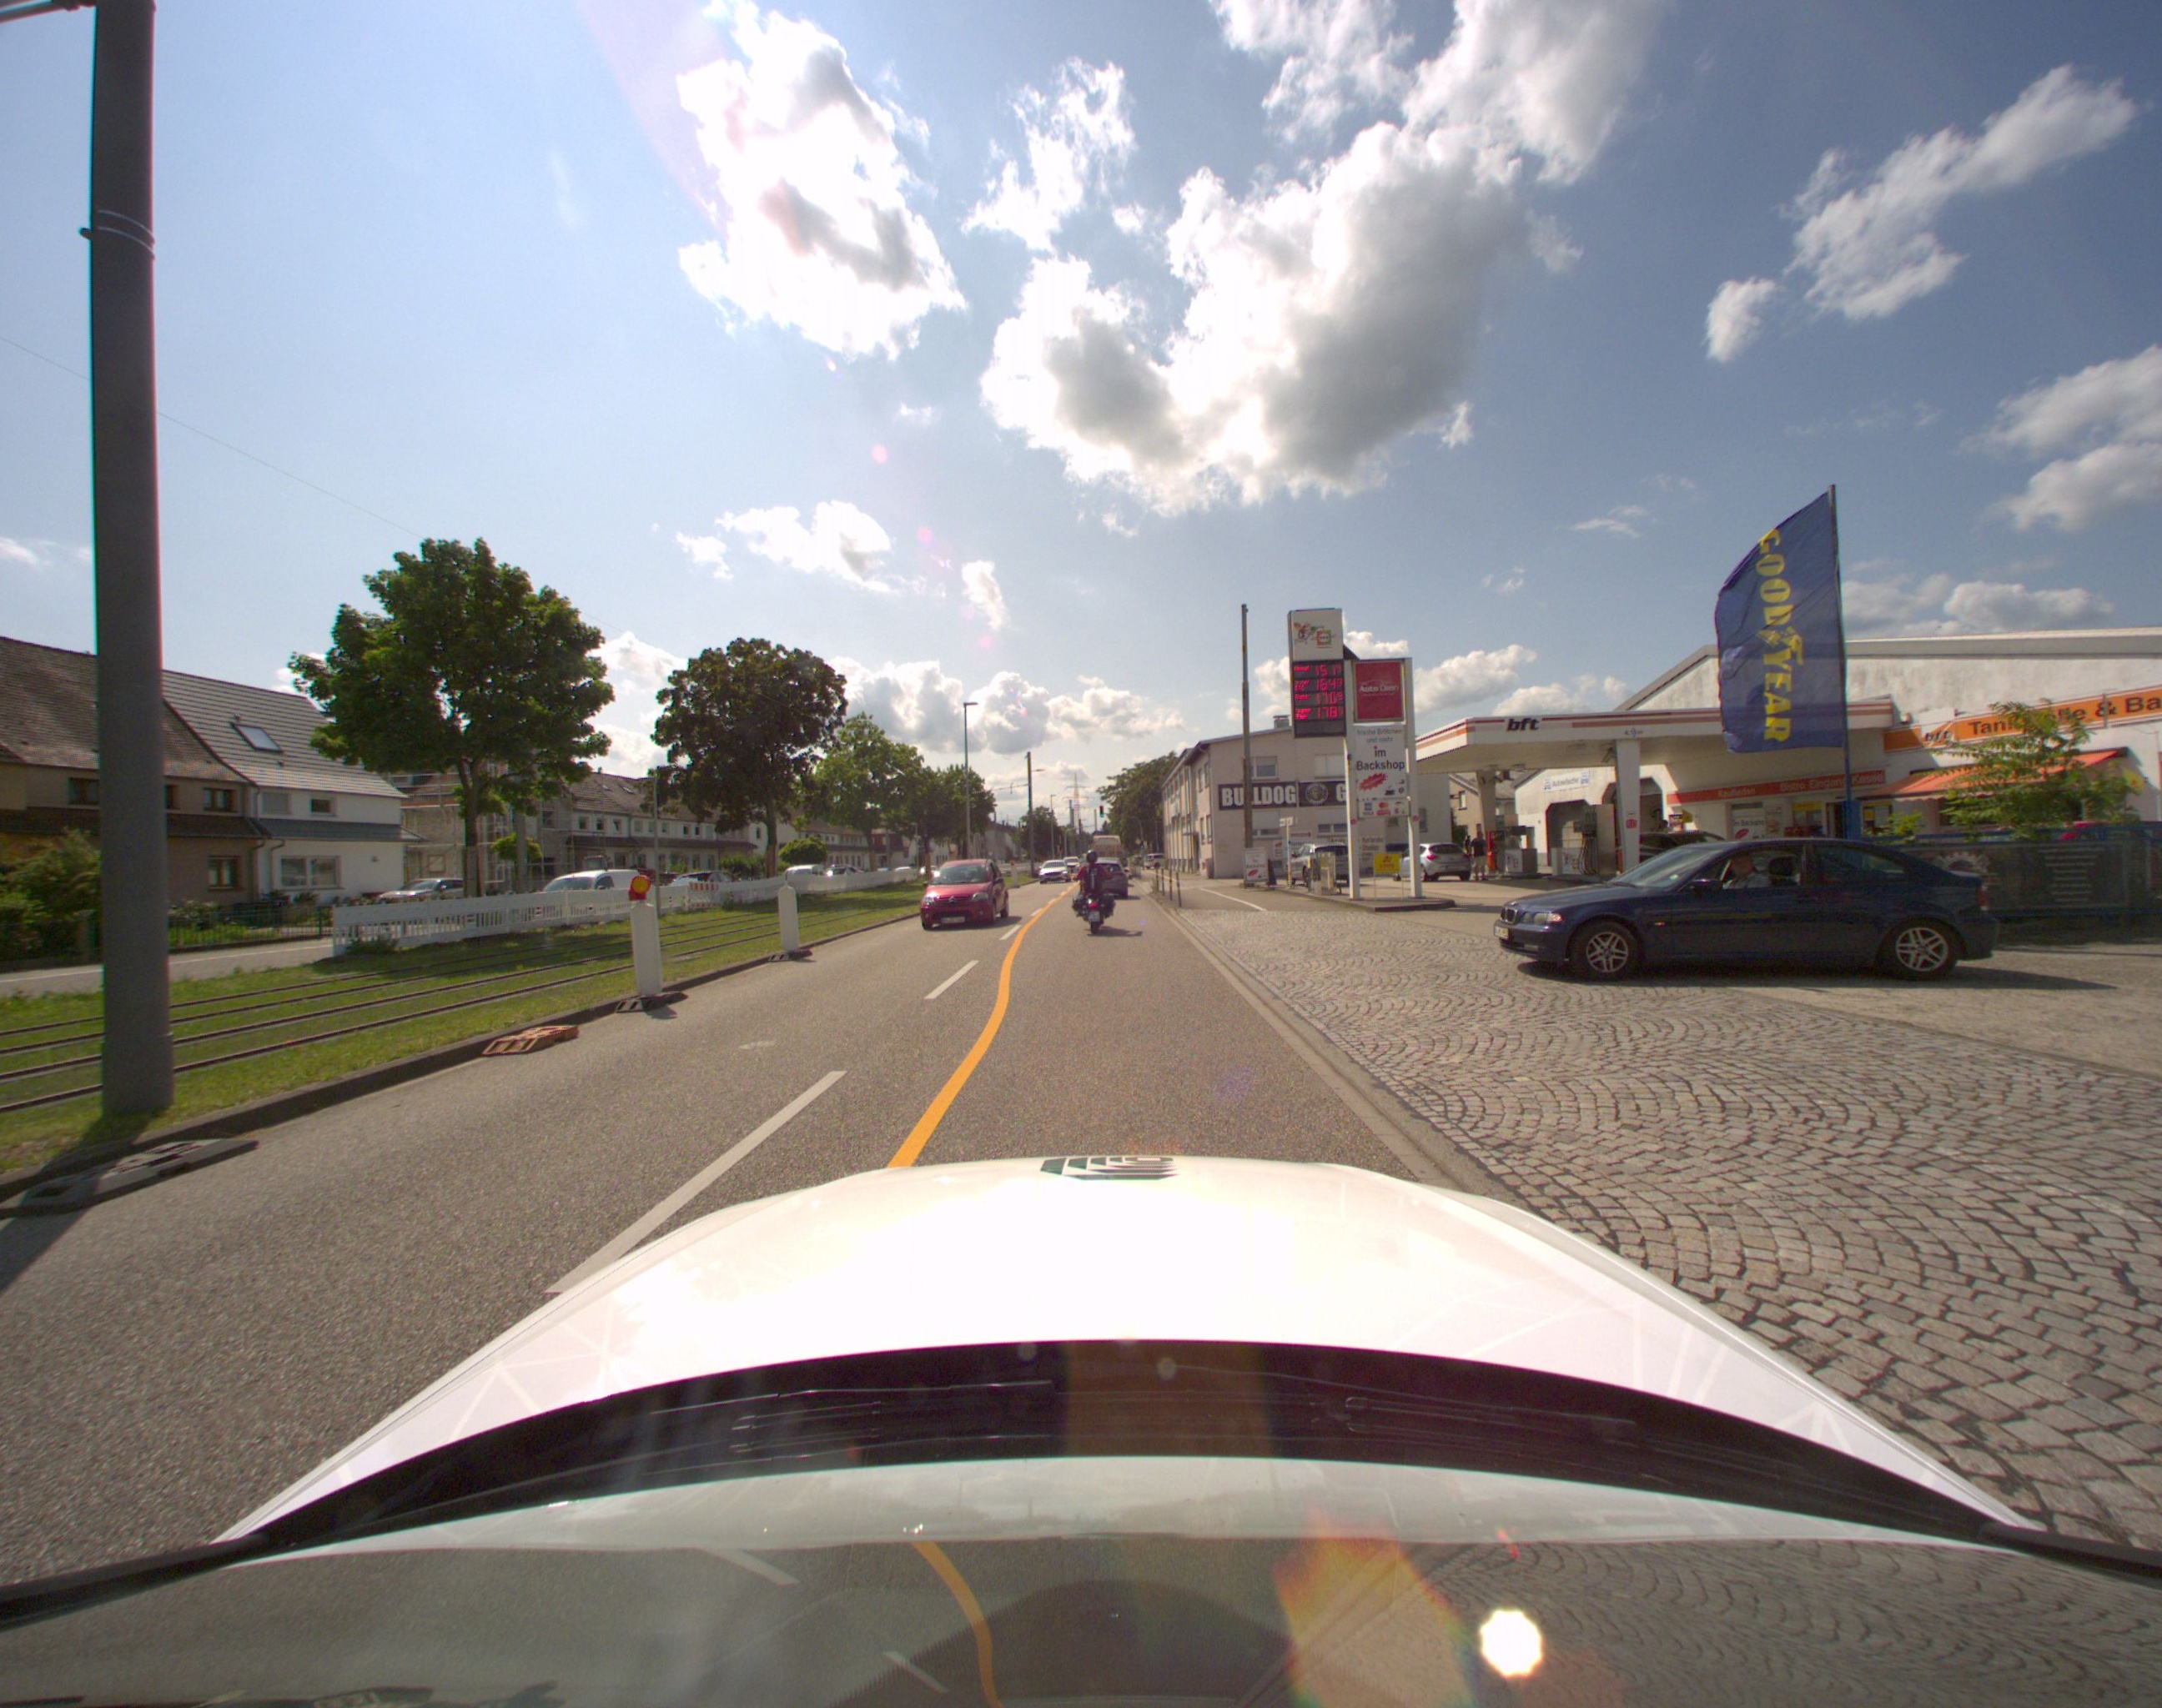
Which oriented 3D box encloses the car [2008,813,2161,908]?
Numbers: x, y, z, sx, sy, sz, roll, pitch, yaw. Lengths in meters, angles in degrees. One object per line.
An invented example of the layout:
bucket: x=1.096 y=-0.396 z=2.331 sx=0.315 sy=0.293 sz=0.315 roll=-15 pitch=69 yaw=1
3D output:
car: x=18.184 y=0.025 z=13.195 sx=4.117 sy=1.424 sz=1.773 roll=-3 pitch=-1 yaw=3

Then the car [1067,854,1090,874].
car: x=-0.167 y=0.948 z=73.989 sx=1.818 sy=1.666 sz=4.464 roll=-3 pitch=-1 yaw=2

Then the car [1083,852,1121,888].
car: x=1.187 y=0.793 z=43.875 sx=1.893 sy=1.712 sz=4.722 roll=-2 pitch=1 yaw=3

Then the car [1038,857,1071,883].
car: x=-1.665 y=1.015 z=52.042 sx=1.814 sy=1.445 sz=4.484 roll=-3 pitch=-1 yaw=1

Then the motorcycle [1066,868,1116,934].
motorcycle: x=0.234 y=0.903 z=16.572 sx=0.939 sy=1.200 sz=2.474 roll=0 pitch=0 yaw=2

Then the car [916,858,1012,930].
car: x=-2.686 y=0.872 z=19.435 sx=1.572 sy=1.469 sz=3.722 roll=-2 pitch=0 yaw=2

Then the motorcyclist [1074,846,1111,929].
motorcyclist: x=0.239 y=0.657 z=16.248 sx=0.695 sy=1.604 sz=0.692 roll=0 pitch=-1 yaw=2

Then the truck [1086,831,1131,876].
truck: x=2.179 y=0.015 z=60.681 sx=2.953 sy=3.173 sz=7.773 roll=0 pitch=-1 yaw=5

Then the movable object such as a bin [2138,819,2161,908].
movable object such as a bin: x=16.138 y=0.137 z=11.845 sx=0.578 sy=1.297 sz=0.706 roll=0 pitch=-1 yaw=1

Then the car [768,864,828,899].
car: x=-14.915 y=1.425 z=43.100 sx=1.616 sy=1.651 sz=3.901 roll=-3 pitch=-1 yaw=2

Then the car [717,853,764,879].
car: x=-27.456 y=0.947 z=65.844 sx=1.986 sy=2.014 sz=4.001 roll=0 pitch=-1 yaw=1

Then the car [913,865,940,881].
car: x=-13.668 y=1.686 z=72.154 sx=1.516 sy=1.354 sz=3.623 roll=0 pitch=-1 yaw=2

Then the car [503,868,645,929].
car: x=-15.350 y=1.291 z=24.919 sx=1.646 sy=1.626 sz=4.002 roll=-3 pitch=-1 yaw=2

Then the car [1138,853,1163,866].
car: x=11.166 y=0.902 z=131.403 sx=4.022 sy=1.926 sz=1.781 roll=0 pitch=-1 yaw=-43

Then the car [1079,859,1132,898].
car: x=0.872 y=0.897 z=31.143 sx=1.727 sy=1.403 sz=4.082 roll=0 pitch=0 yaw=-2

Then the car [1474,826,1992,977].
car: x=6.626 y=0.484 z=8.731 sx=4.028 sy=1.408 sz=1.651 roll=-1 pitch=-1 yaw=9

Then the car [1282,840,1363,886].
car: x=9.168 y=0.330 z=31.323 sx=1.937 sy=1.625 sz=4.619 roll=-1 pitch=0 yaw=3

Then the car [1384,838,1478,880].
car: x=13.672 y=0.222 z=32.105 sx=1.687 sy=1.471 sz=4.421 roll=-3 pitch=-1 yaw=-1

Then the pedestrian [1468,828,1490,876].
pedestrian: x=14.788 y=-0.063 z=30.249 sx=0.495 sy=1.776 sz=0.577 roll=0 pitch=-1 yaw=-1

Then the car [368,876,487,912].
car: x=-27.178 y=1.633 z=34.054 sx=1.528 sy=1.275 sz=4.122 roll=-3 pitch=-1 yaw=2

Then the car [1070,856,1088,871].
car: x=-0.189 y=1.065 z=87.962 sx=1.686 sy=1.412 sz=3.860 roll=-6 pitch=-1 yaw=1

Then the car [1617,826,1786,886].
car: x=18.096 y=0.004 z=24.069 sx=1.676 sy=1.519 sz=4.495 roll=-3 pitch=1 yaw=2

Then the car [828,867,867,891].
car: x=-14.407 y=1.500 z=50.301 sx=1.345 sy=1.377 sz=3.116 roll=-3 pitch=-1 yaw=2
